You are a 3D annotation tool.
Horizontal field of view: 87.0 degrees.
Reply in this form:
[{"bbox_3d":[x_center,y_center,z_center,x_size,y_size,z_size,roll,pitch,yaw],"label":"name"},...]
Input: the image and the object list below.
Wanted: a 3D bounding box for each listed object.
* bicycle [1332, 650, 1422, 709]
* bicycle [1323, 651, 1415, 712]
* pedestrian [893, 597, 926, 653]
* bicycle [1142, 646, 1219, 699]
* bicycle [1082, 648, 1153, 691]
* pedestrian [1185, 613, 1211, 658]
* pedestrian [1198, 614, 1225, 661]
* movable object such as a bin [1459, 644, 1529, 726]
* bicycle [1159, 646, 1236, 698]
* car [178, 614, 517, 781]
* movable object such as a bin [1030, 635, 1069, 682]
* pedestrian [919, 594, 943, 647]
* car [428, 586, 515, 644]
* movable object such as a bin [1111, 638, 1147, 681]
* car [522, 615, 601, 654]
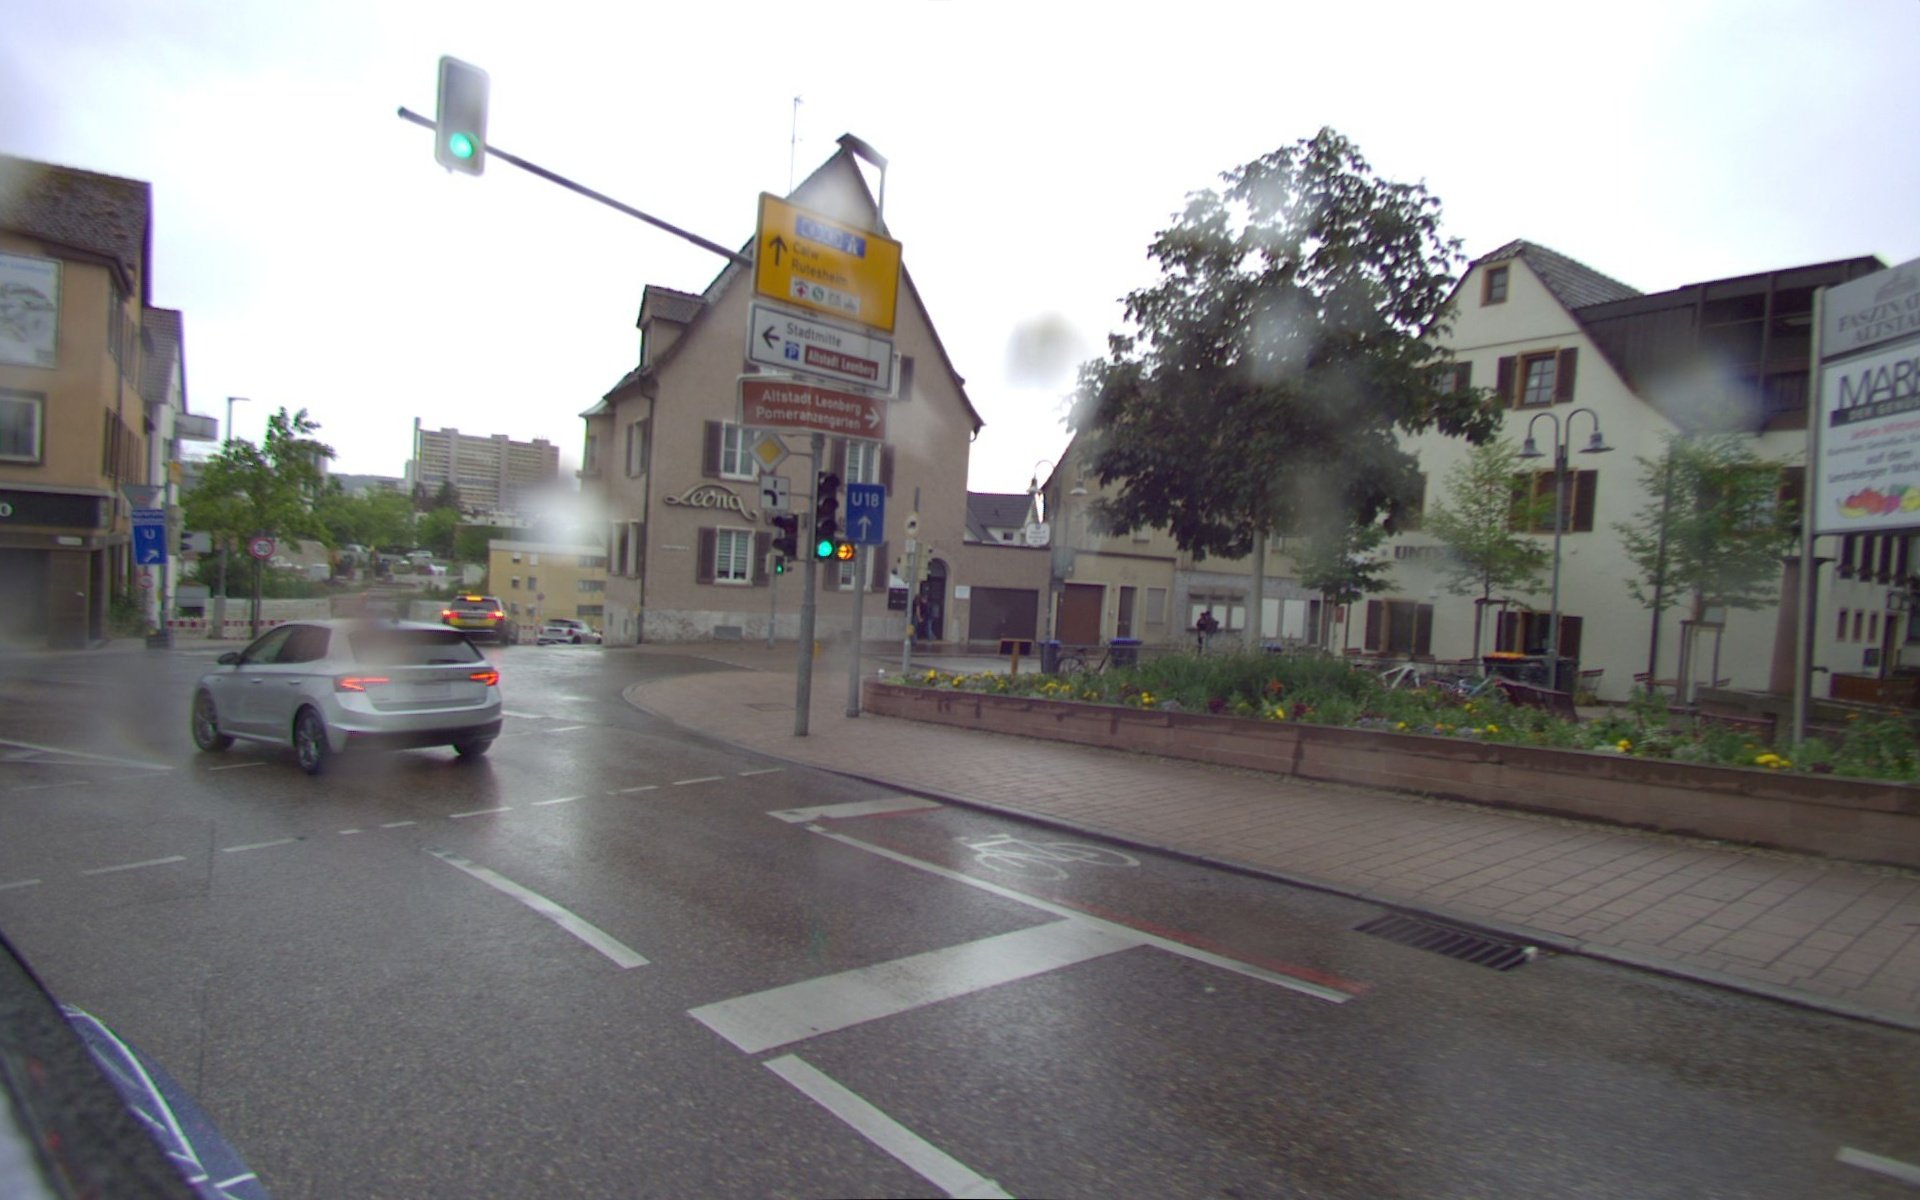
[{"bbox_3d":[7.610,1.438,18.505,1.468,0.919,0.388,3,4,38],"label":"bicycle"},{"bbox_3d":[7.339,1.446,18.187,1.468,0.919,0.388,3,4,38],"label":"bicycle"},{"bbox_3d":[-1.684,0.830,33.782,0.798,1.844,0.705,-1,-1,40],"label":"pedestrian"},{"bbox_3d":[4.394,1.438,20.210,1.462,0.919,0.389,2,4,26],"label":"bicycle"},{"bbox_3d":[3.309,1.454,21.284,1.424,0.824,0.336,1,4,17],"label":"bicycle"},{"bbox_3d":[9.324,1.382,39.643,0.620,1.745,0.784,0,1,-31],"label":"pedestrian"},{"bbox_3d":[9.643,1.426,38.834,0.620,1.745,0.784,0,1,-31],"label":"pedestrian"},{"bbox_3d":[9.142,1.445,17.330,0.735,1.285,0.688,0,4,-26],"label":"movable object such as a bin"},{"bbox_3d":[4.817,1.455,20.560,1.462,0.919,0.389,2,4,26],"label":"bicycle"},{"bbox_3d":[-6.456,0.870,10.539,3.863,1.438,1.647,-1,-1,36],"label":"car"},{"bbox_3d":[2.023,1.340,22.947,0.777,0.933,0.725,4,-10,2],"label":"movable object such as a bin"},{"bbox_3d":[-0.990,0.699,34.203,0.528,1.741,0.558,3,2,-26],"label":"pedestrian"},{"bbox_3d":[-15.069,0.415,31.439,1.965,1.550,4.428,2,1,-20],"label":"car"},{"bbox_3d":[3.839,1.343,22.959,0.588,0.908,0.576,3,3,39],"label":"movable object such as a bin"},{"bbox_3d":[-17.492,1.488,44.625,1.972,1.442,4.001,2,1,-1],"label":"car"}]
